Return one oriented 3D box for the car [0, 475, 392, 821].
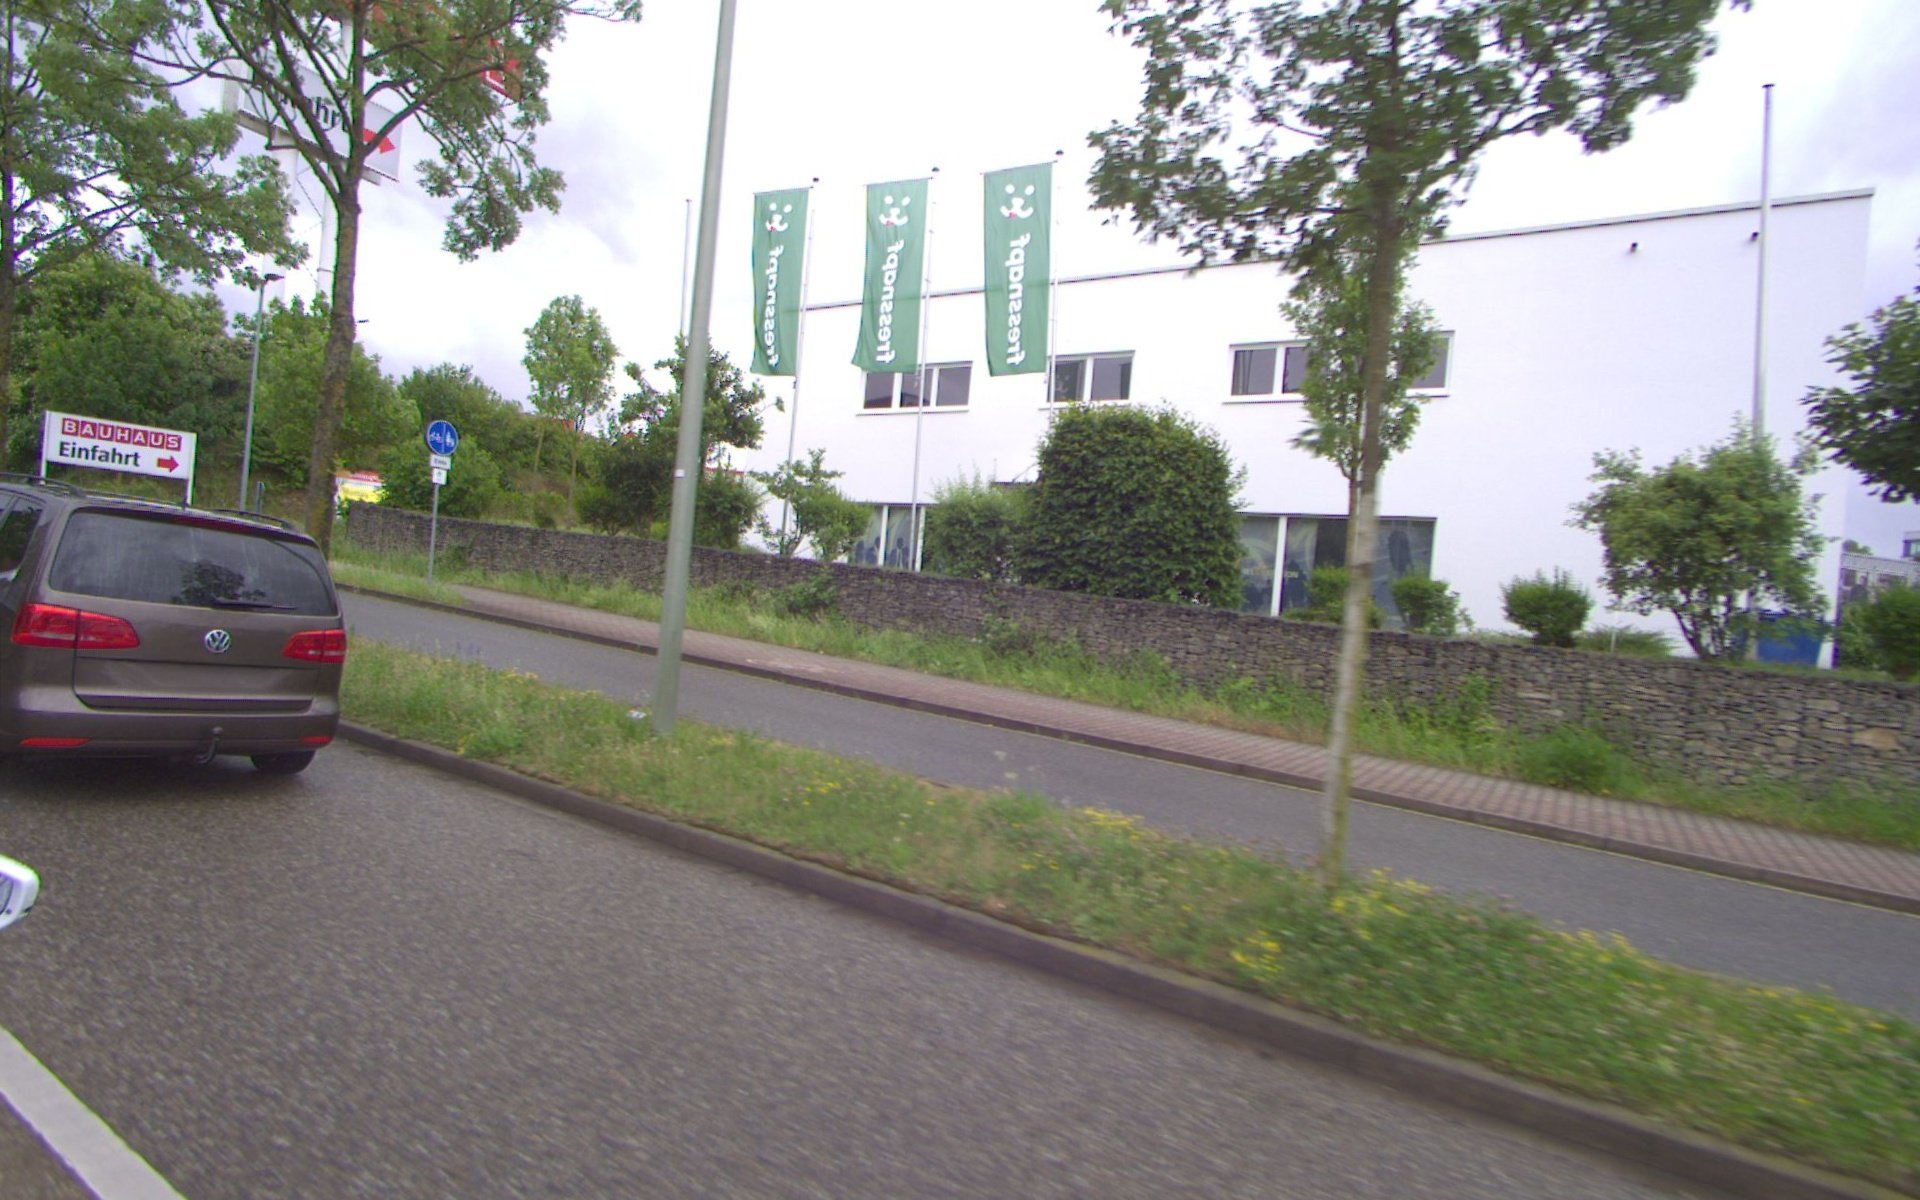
[{"bbox_3d":[-5.749,0.108,6.423,4.147,1.599,1.689,6,-1,30],"label":"car"}]
